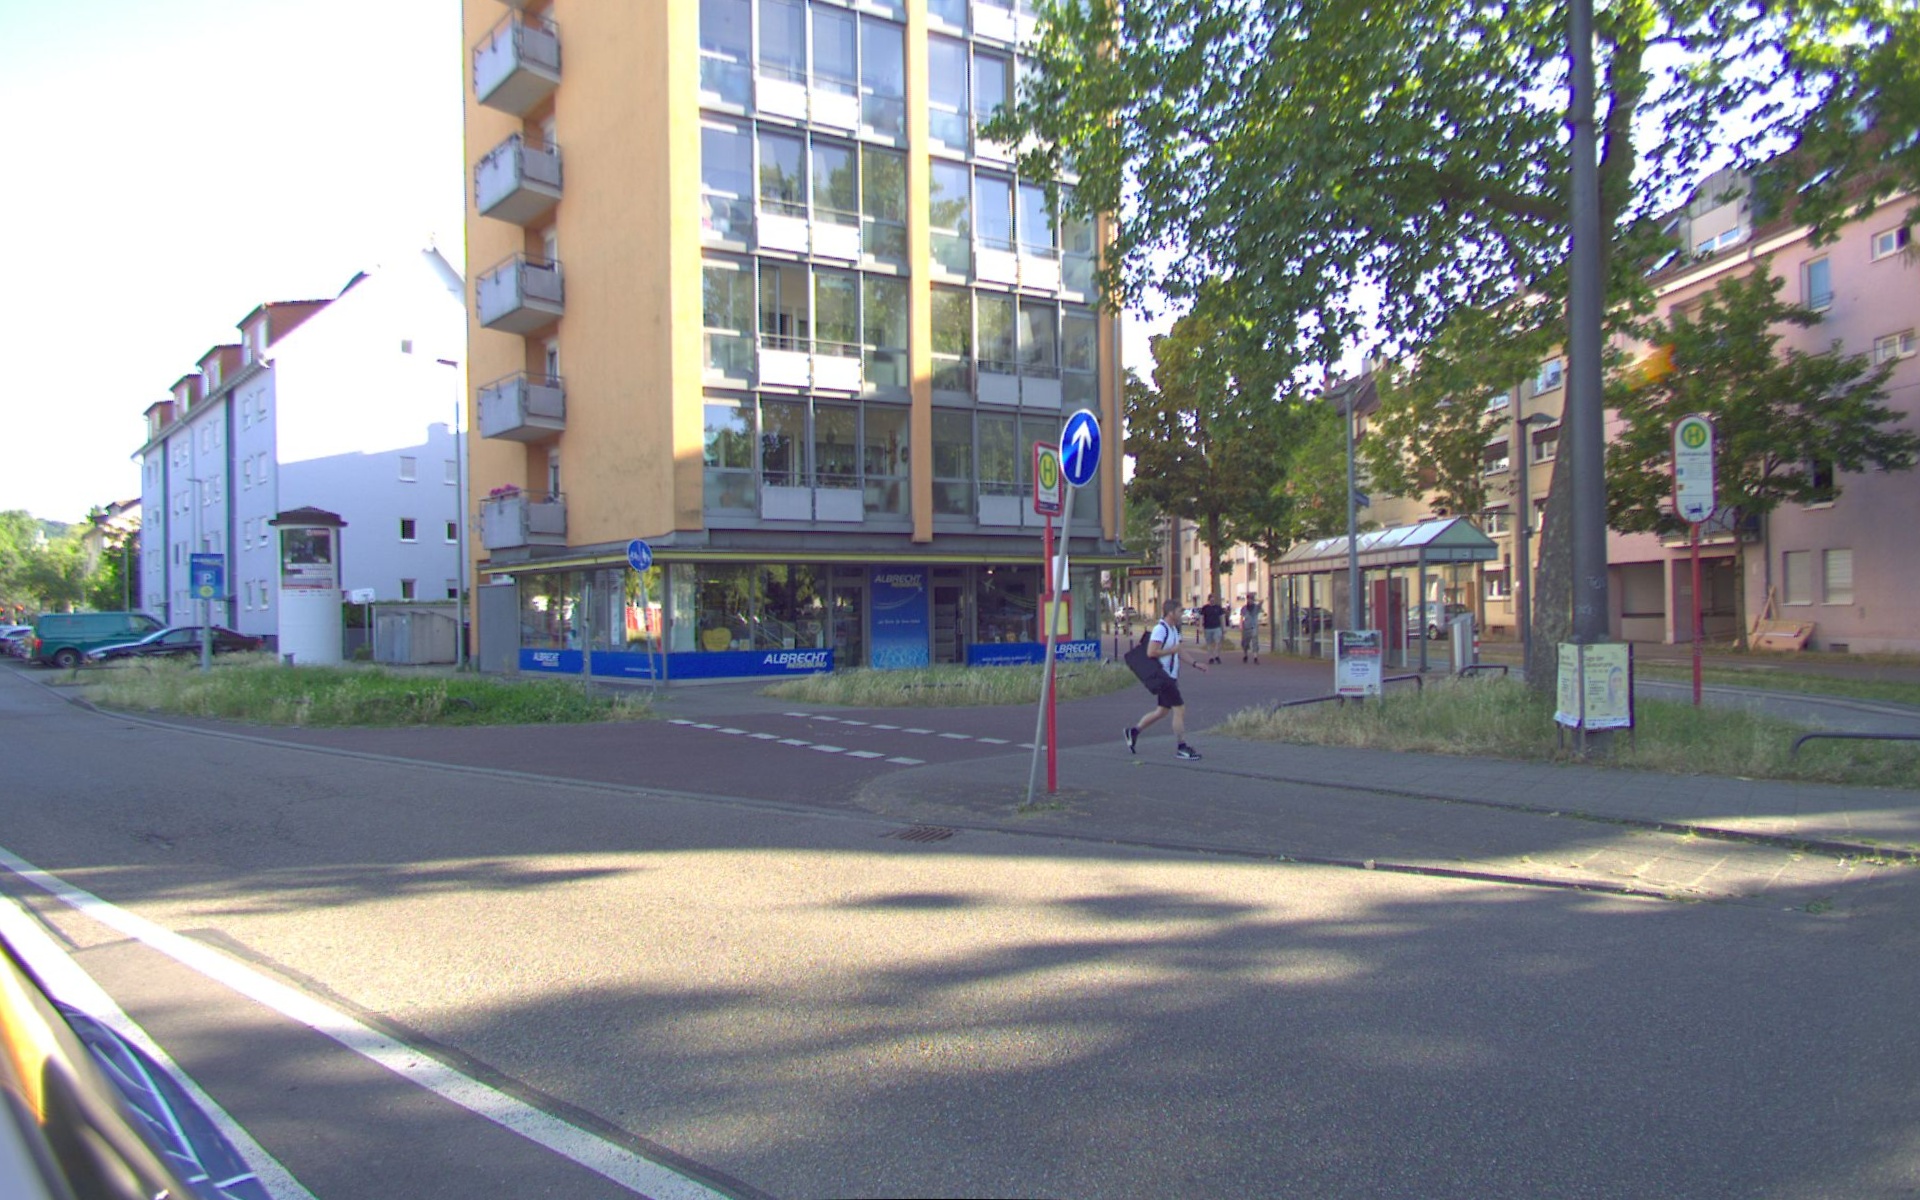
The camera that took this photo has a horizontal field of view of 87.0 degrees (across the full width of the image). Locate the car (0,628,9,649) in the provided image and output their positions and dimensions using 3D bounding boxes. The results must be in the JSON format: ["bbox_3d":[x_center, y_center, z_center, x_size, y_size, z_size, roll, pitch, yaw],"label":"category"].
[{"bbox_3d":[-74.759,2.994,76.967,3.490,1.585,1.867,-1,0,-44],"label":"car"}]

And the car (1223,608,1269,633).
[{"bbox_3d":[19.172,1.346,68.054,1.741,1.588,4.049,-1,0,-3],"label":"car"}]

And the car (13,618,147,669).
[{"bbox_3d":[-35.121,1.679,40.437,3.941,1.829,2.001,-1,0,-44],"label":"car"}]

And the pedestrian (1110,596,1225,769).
[{"bbox_3d":[2.239,0.841,10.840,1.080,1.750,0.897,-1,0,19],"label":"pedestrian"}]

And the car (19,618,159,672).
[{"bbox_3d":[-33.121,1.653,38.535,3.941,1.829,2.001,-1,0,-44],"label":"car"}]

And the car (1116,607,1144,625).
[{"bbox_3d":[17.735,1.637,105.548,1.911,1.719,4.372,-1,0,-3],"label":"car"}]

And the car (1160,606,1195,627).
[{"bbox_3d":[18.431,1.393,85.803,1.830,1.719,4.170,-1,0,-3],"label":"car"}]

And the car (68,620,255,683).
[{"bbox_3d":[-24.273,1.513,30.869,4.361,1.674,2.003,-1,0,-41],"label":"car"}]

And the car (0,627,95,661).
[{"bbox_3d":[-48.120,2.280,52.961,4.199,1.585,1.867,-1,0,-44],"label":"car"}]

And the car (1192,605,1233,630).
[{"bbox_3d":[18.705,1.266,75.159,1.808,1.719,4.059,-1,0,-3],"label":"car"}]

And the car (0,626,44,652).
[{"bbox_3d":[-63.495,2.609,66.998,4.199,1.585,1.867,-1,0,-44],"label":"car"}]

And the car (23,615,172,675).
[{"bbox_3d":[-31.216,1.561,36.692,2.001,1.962,3.942,-1,0,44],"label":"car"}]

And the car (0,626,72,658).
[{"bbox_3d":[-55.793,2.478,60.439,4.016,1.765,1.900,-1,0,-44],"label":"car"}]

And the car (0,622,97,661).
[{"bbox_3d":[-46.118,2.043,50.870,4.061,1.785,1.758,-1,0,-44],"label":"car"}]

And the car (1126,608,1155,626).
[{"bbox_3d":[17.785,1.637,99.875,1.911,1.719,4.003,-1,0,-3],"label":"car"}]

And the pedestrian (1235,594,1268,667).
[{"bbox_3d":[7.170,0.743,24.903,0.622,1.763,0.689,-1,0,6],"label":"pedestrian"}]

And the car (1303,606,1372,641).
[{"bbox_3d":[19.916,1.203,53.602,1.911,1.719,4.115,-1,0,-3],"label":"car"}]

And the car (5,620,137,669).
[{"bbox_3d":[-36.858,1.812,42.016,4.003,1.829,1.938,-1,0,-44],"label":"car"}]

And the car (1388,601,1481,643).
[{"bbox_3d":[20.745,0.908,44.434,1.911,1.719,4.115,-1,0,-3],"label":"car"}]

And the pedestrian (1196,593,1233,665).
[{"bbox_3d":[6.362,0.719,25.302,0.803,1.763,0.538,-1,0,6],"label":"pedestrian"}]

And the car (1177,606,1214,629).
[{"bbox_3d":[18.643,1.351,80.348,1.771,1.719,4.170,-1,0,-3],"label":"car"}]

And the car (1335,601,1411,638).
[{"bbox_3d":[19.905,0.919,48.989,1.911,1.719,3.827,-1,0,-3],"label":"car"}]

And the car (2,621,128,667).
[{"bbox_3d":[-38.828,1.870,43.934,4.016,1.765,1.900,-1,0,-44],"label":"car"}]

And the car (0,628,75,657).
[{"bbox_3d":[-55.659,2.507,60.386,4.199,1.585,1.867,-1,0,-44],"label":"car"}]
